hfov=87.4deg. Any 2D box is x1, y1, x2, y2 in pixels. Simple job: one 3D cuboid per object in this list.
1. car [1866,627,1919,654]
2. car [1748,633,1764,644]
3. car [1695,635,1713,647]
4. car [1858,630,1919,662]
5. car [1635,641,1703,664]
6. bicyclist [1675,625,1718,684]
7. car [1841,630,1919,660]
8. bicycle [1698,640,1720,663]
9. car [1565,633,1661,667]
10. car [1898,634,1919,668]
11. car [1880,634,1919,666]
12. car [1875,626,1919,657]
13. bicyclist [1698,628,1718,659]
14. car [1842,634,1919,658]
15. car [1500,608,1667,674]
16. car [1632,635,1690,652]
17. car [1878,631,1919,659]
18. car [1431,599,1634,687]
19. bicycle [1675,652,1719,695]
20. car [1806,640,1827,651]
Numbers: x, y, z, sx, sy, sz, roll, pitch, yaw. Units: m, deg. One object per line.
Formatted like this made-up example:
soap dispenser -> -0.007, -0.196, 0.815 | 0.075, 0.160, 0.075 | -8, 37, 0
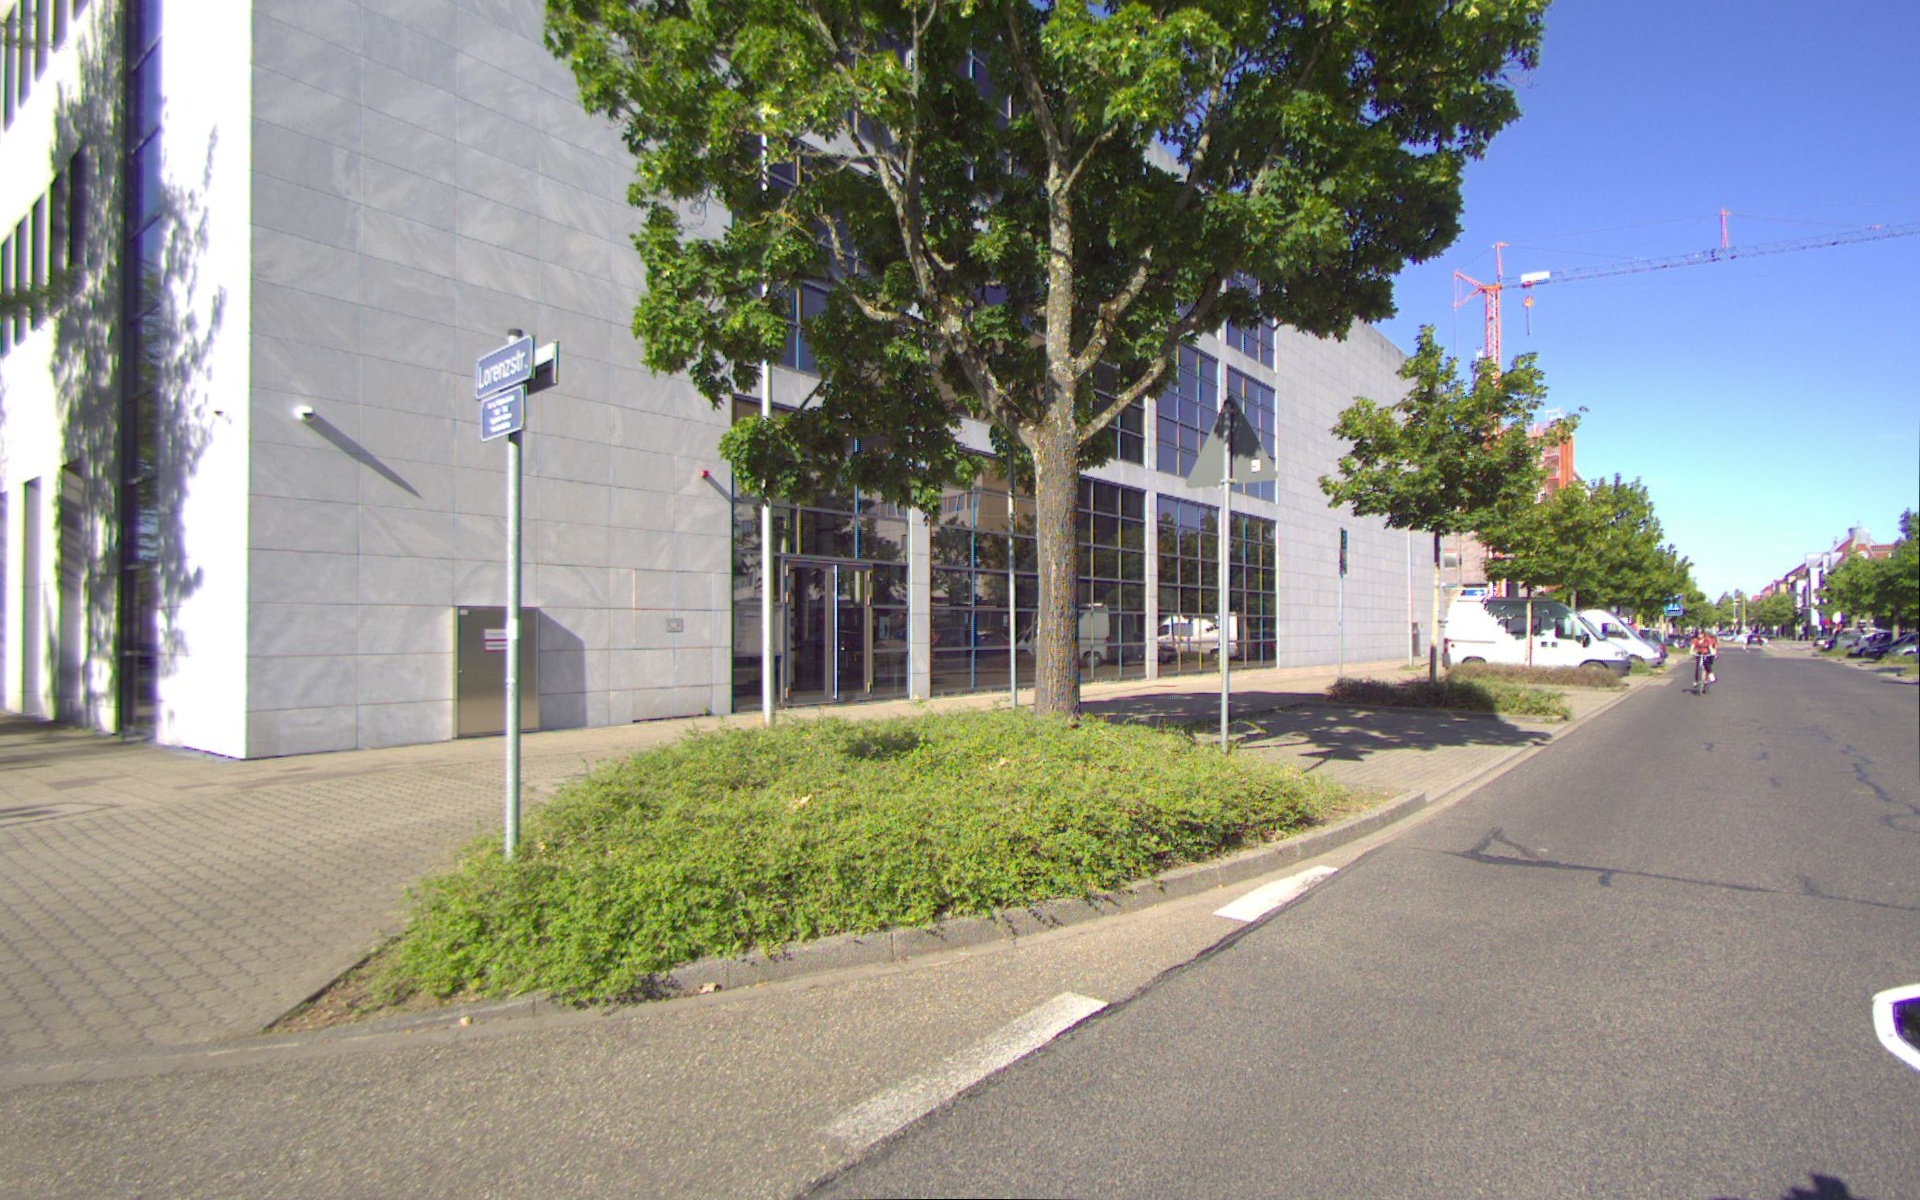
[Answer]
car -> 56.015, 2.389, 59.037 | 3.939, 1.602, 2.023 | -2, -3, 39
car -> 117.729, 5.722, 148.628 | 1.790, 1.494, 4.092 | -2, -2, 39
car -> 97.181, 5.378, 131.169 | 1.789, 1.494, 4.095 | -2, -2, 37
car -> 49.594, 2.394, 52.269 | 4.093, 1.600, 1.734 | -3, -3, 38
car -> 55.185, 4.055, 78.225 | 4.209, 1.687, 1.593 | -2, -2, 38
bicyclist -> 18.740, 1.384, 25.550 | 0.748, 1.450, 1.127 | -4, -3, 39
car -> 60.432, 2.960, 65.825 | 3.939, 1.904, 1.675 | -2, -3, 39
bicycle -> 39.332, 2.699, 52.761 | 0.691, 1.125, 2.068 | -3, -4, 42
car -> 33.641, 2.561, 51.781 | 4.076, 1.512, 1.863 | 1, 0, 36
car -> 42.493, 2.139, 42.457 | 4.015, 1.444, 1.734 | -4, -4, 40
car -> 46.693, 2.382, 47.967 | 3.852, 1.505, 1.736 | -2, -2, 38
car -> 48.461, 2.058, 50.220 | 3.812, 1.524, 1.646 | -2, -2, 36
bicyclist -> 39.357, 2.305, 52.820 | 0.676, 1.601, 1.055 | -3, -3, 43
car -> 58.179, 2.889, 63.361 | 3.720, 1.478, 1.810 | -2, -3, 38
car -> 24.903, 1.579, 40.259 | 5.486, 2.442, 1.978 | 0, -1, 41
car -> 63.548, 3.956, 91.150 | 4.274, 1.494, 1.812 | -2, -2, 35
car -> 54.643, 2.566, 56.748 | 3.939, 1.558, 1.853 | -2, -3, 39
car -> 17.650, 1.253, 31.114 | 5.185, 2.450, 2.113 | 1, 0, 40
bicycle -> 18.726, 1.843, 25.501 | 0.748, 1.015, 1.863 | -4, -4, 39
car -> 125.381, 6.612, 147.137 | 1.964, 1.494, 4.096 | -2, -2, 36
